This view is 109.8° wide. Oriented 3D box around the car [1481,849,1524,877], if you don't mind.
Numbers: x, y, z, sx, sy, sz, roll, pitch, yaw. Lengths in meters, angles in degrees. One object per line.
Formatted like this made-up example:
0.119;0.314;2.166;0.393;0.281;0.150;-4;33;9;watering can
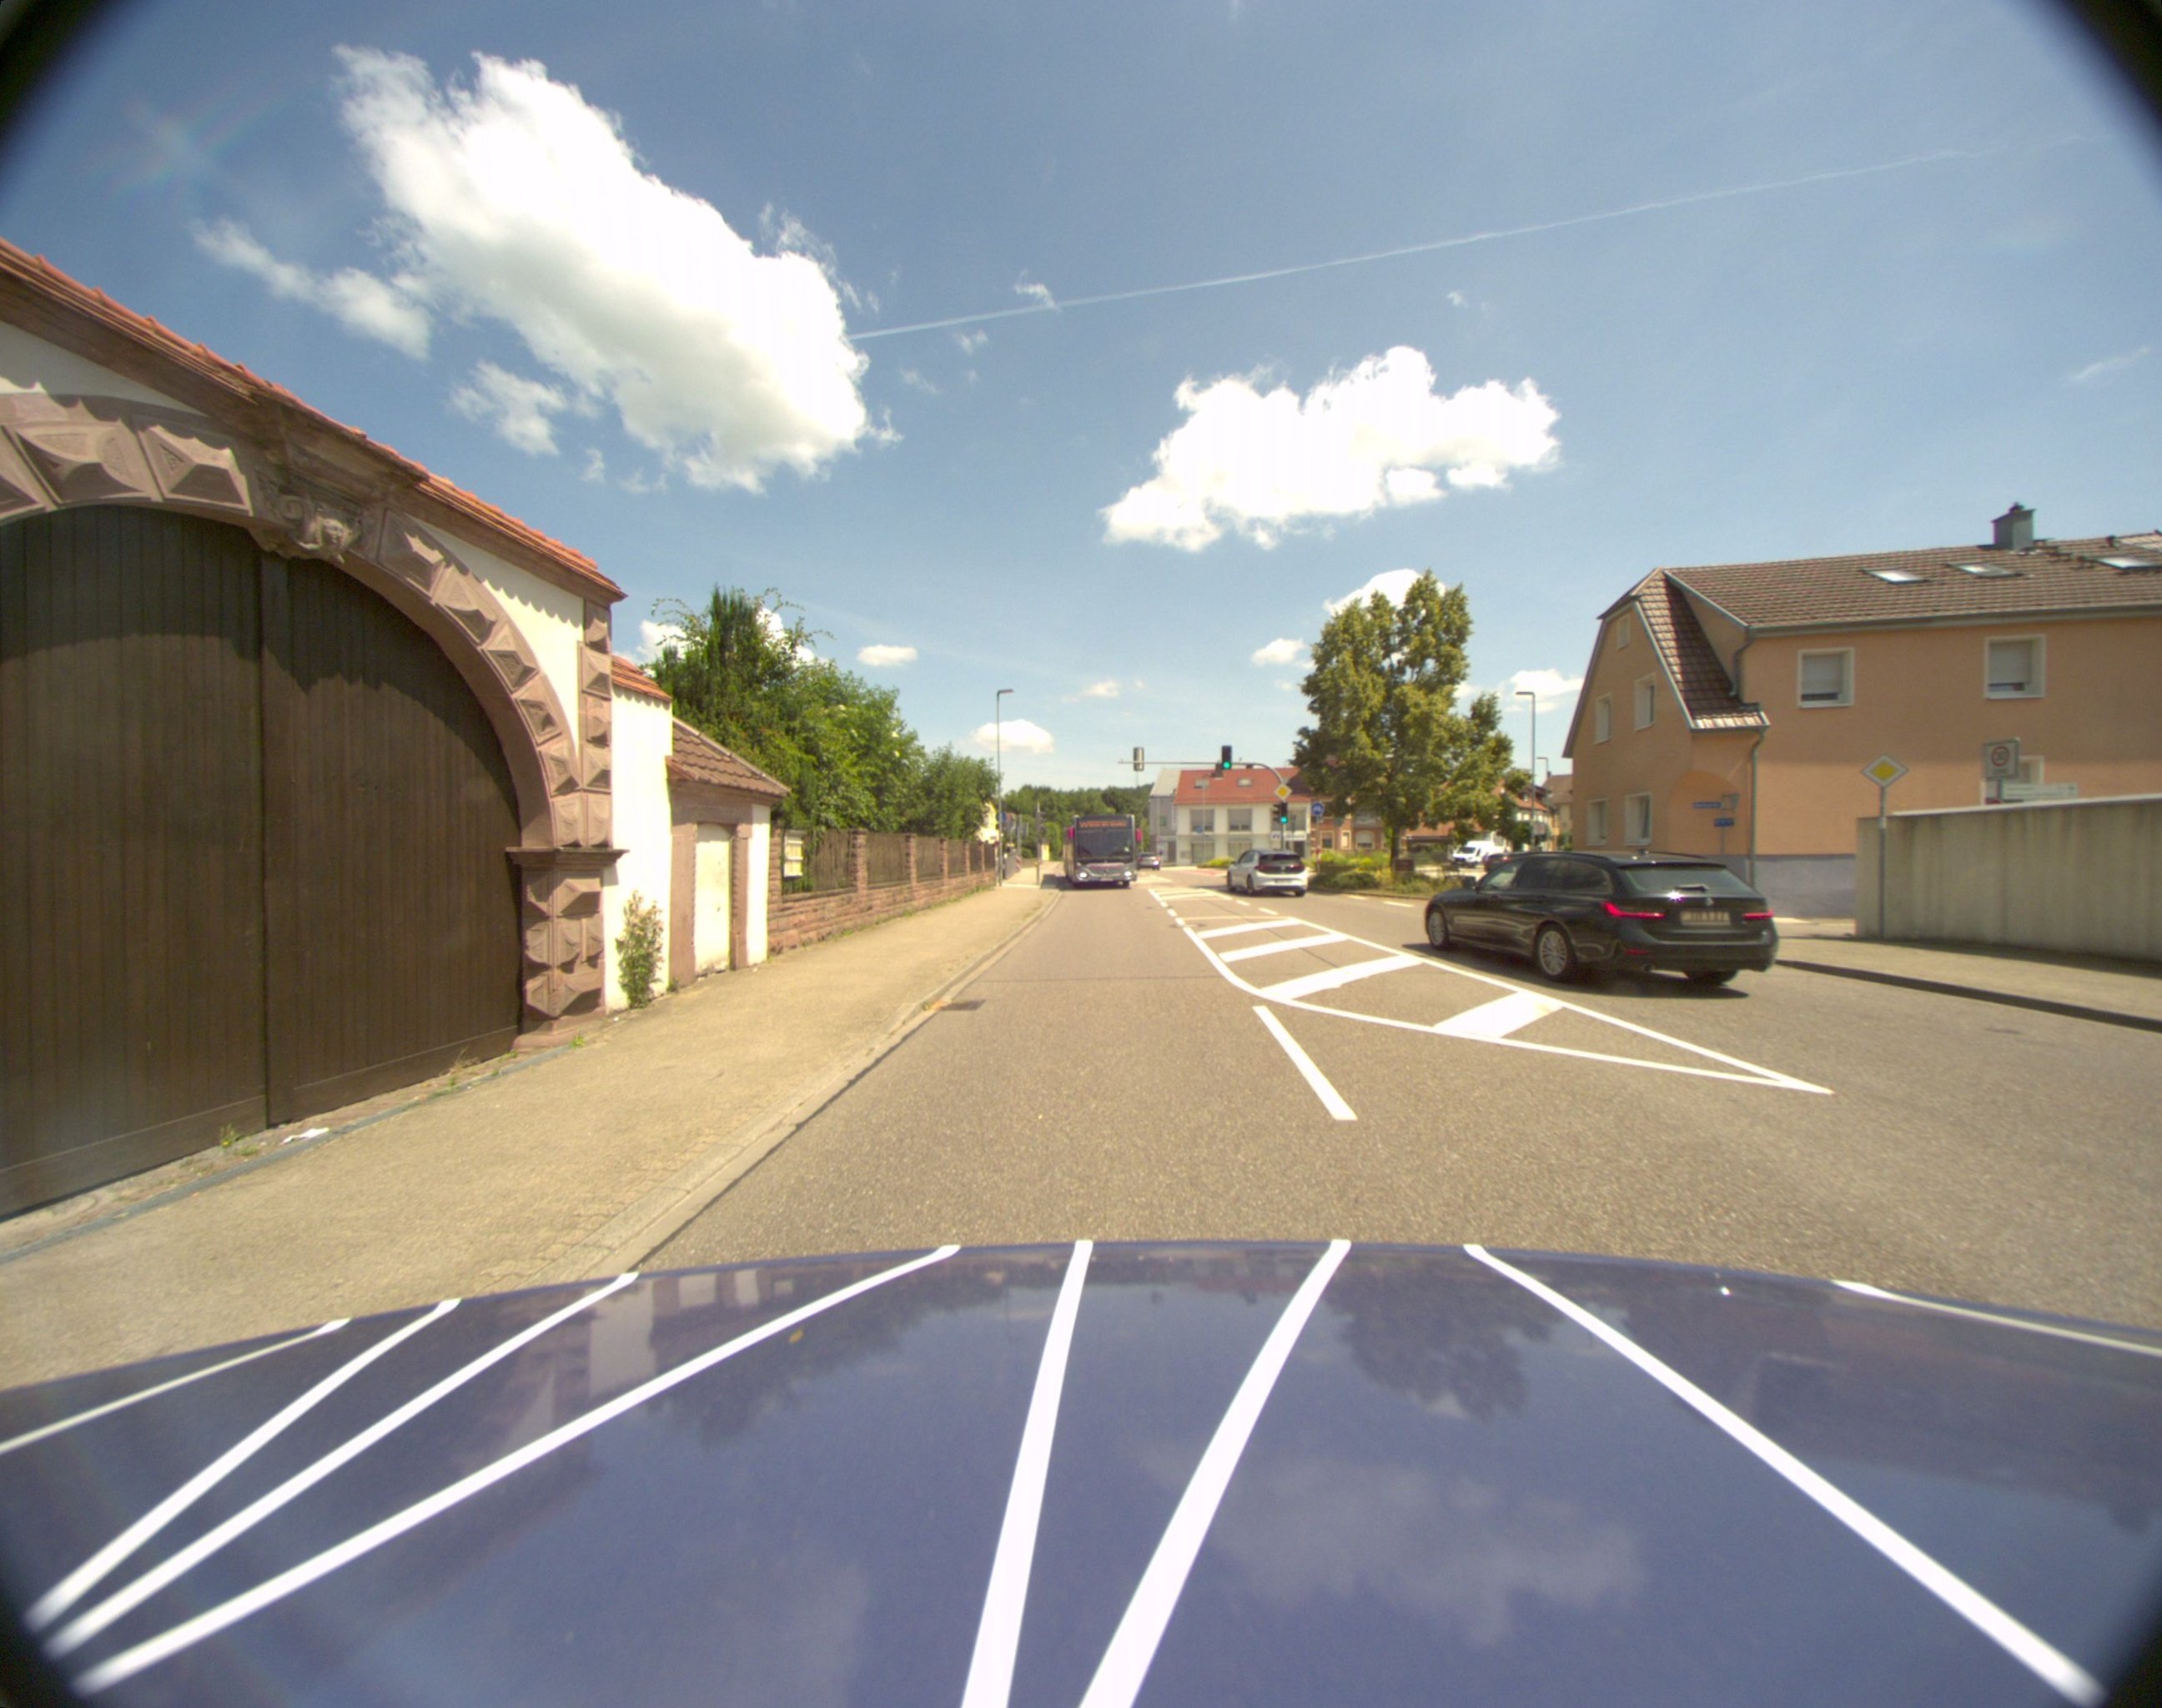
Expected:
31.633;0.626;56.998;1.994;2.002;4.008;0;1;41;car

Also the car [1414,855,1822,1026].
5.942;0.803;9.250;1.798;1.484;4.420;1;1;0;car

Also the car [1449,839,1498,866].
36.176;-0.172;69.951;5.122;2.332;2.167;0;2;-40;car

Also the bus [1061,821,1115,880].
0.292;-0.075;43.754;2.756;2.949;9.281;1;-1;-1;bus

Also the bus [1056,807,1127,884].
0.351;-0.235;34.412;2.756;2.949;9.281;1;-1;-1;bus

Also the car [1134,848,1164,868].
5.386;0.309;60.683;1.868;1.434;4.215;1;1;-1;car

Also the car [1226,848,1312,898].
6.177;0.564;25.424;1.800;1.499;4.132;1;1;0;car

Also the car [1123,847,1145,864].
5.238;0.147;75.530;1.743;1.641;3.667;-1;1;-3;car
